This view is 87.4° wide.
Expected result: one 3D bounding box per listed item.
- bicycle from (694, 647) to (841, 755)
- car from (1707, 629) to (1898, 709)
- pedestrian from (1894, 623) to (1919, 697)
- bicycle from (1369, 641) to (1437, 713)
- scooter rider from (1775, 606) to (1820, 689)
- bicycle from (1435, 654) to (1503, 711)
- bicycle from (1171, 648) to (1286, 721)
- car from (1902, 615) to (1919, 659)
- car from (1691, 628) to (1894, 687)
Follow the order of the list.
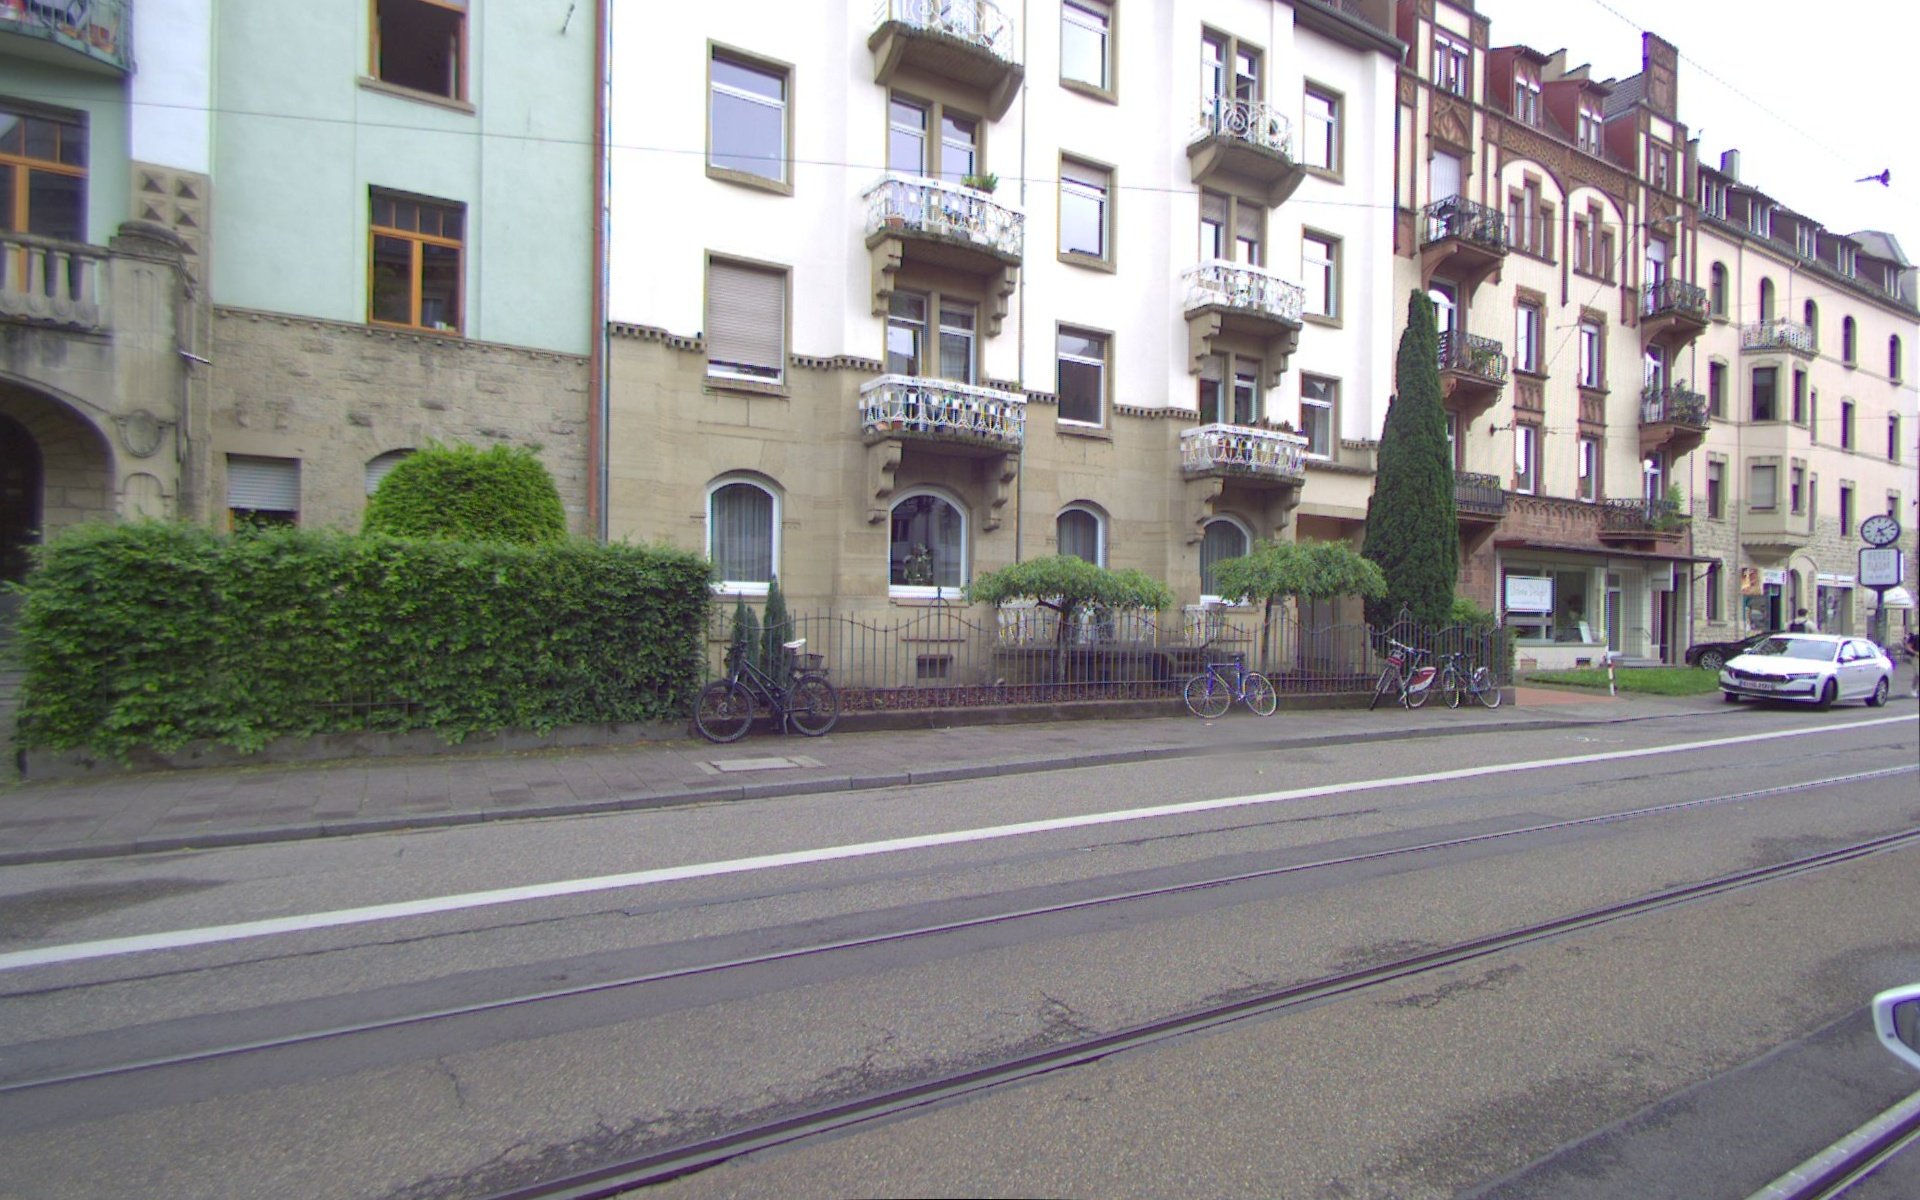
[{"bbox_3d":[-2.072,1.067,10.890,1.528,1.098,0.358,1,-1,-31],"label":"bicycle"},{"bbox_3d":[17.836,1.390,21.208,4.557,1.504,1.738,1,-1,-31],"label":"car"},{"bbox_3d":[24.456,1.532,25.708,0.659,1.868,0.880,0,-1,33],"label":"pedestrian"},{"bbox_3d":[7.255,1.236,16.427,1.613,1.116,0.381,2,-1,-42],"label":"bicycle"},{"bbox_3d":[20.948,1.174,25.123,0.749,2.040,0.639,1,-1,-30],"label":"scooter rider"},{"bbox_3d":[8.994,1.437,17.722,1.498,0.950,0.330,1,-1,-31],"label":"bicycle"},{"bbox_3d":[3.915,1.212,14.627,1.640,0.938,0.358,0,-19,-28],"label":"bicycle"},{"bbox_3d":[53.750,2.027,54.194,2.142,2.449,5.382,0,-1,18],"label":"car"},{"bbox_3d":[25.324,1.697,30.707,1.861,1.389,4.397,1,1,-34],"label":"car"}]
